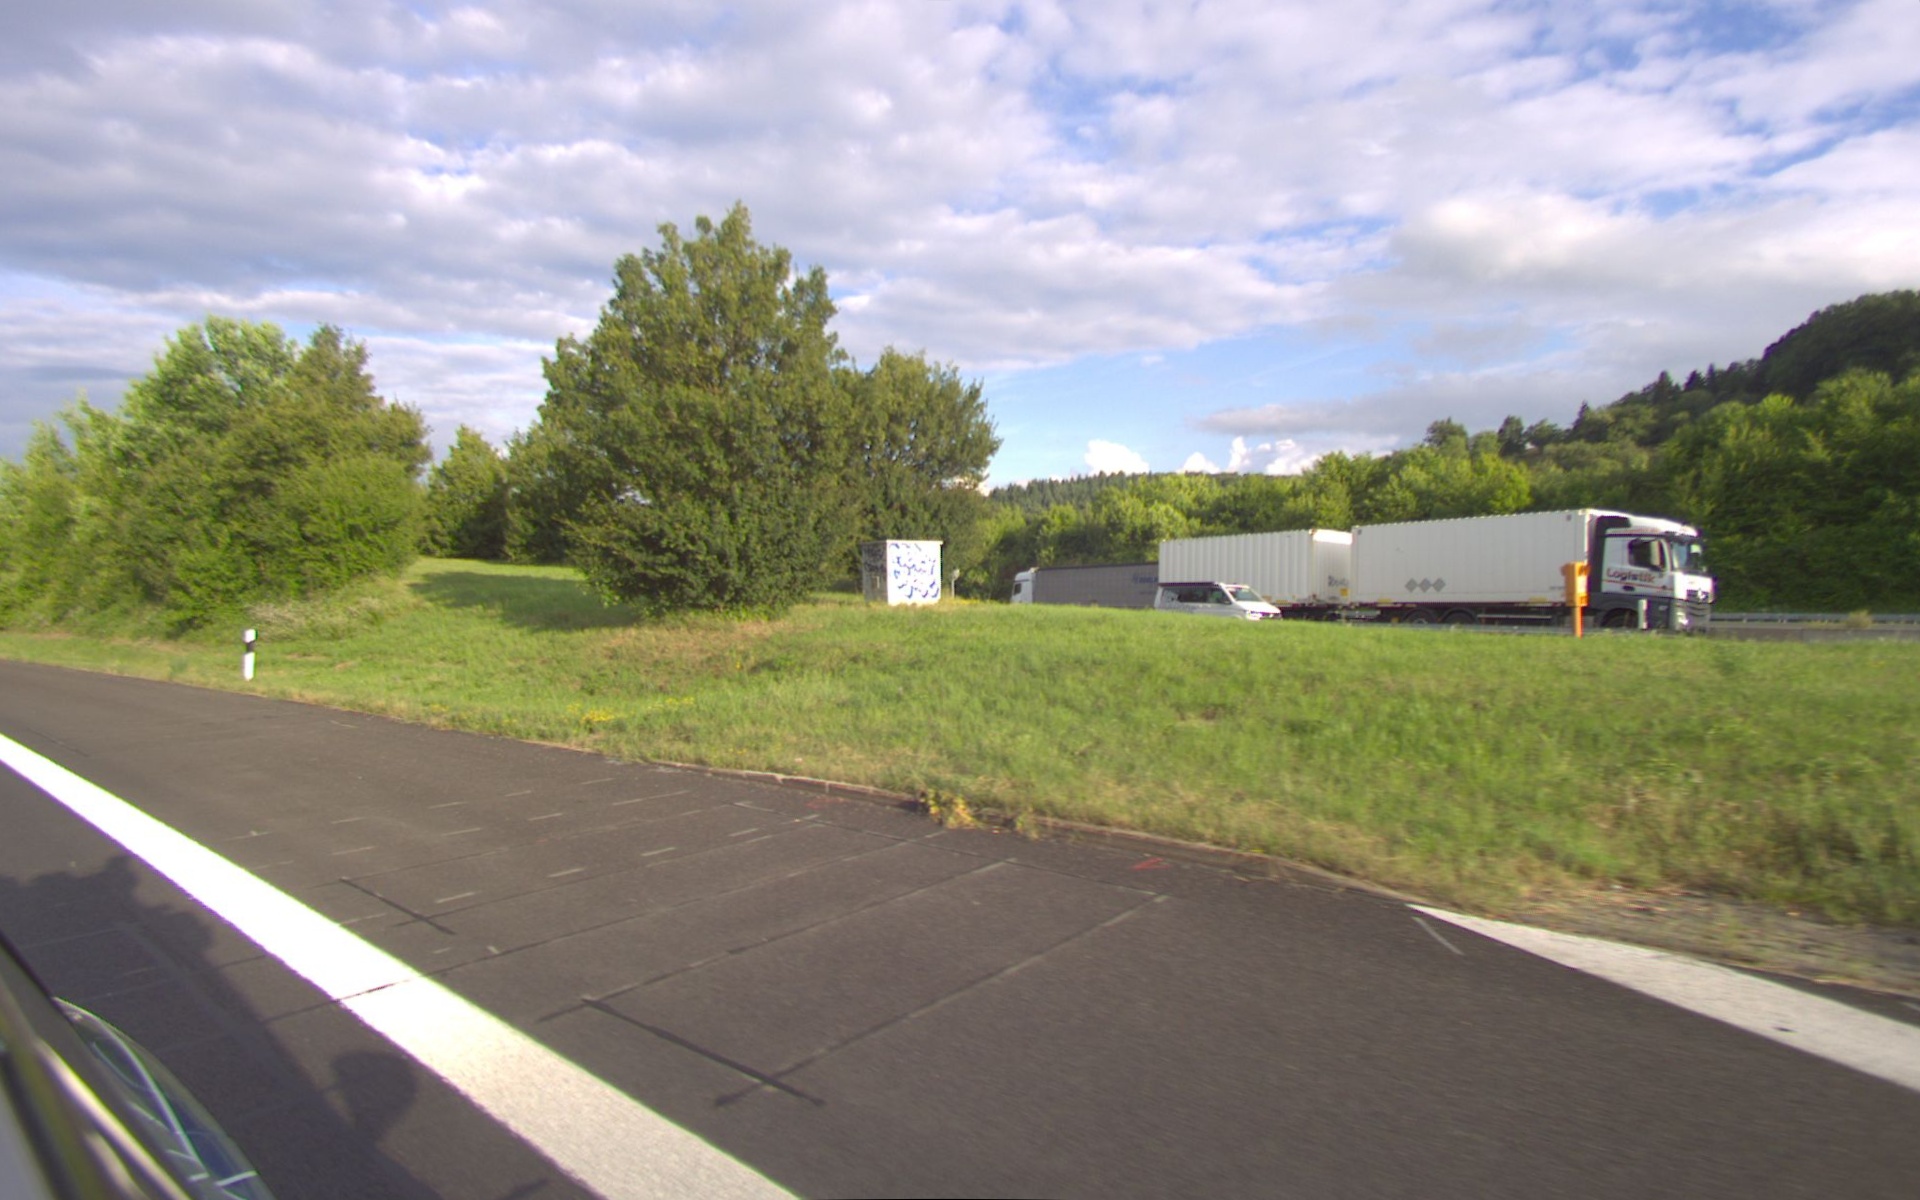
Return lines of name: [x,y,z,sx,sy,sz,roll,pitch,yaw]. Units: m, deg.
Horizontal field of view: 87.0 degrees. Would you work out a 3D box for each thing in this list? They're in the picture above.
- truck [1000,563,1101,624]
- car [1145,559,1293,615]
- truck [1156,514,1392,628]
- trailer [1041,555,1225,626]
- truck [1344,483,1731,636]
truck: [5.993,-0.396,68.454,2.904,3.917,7.105,-1,0,-34]
car: [8.936,-0.401,35.292,1.967,1.790,4.913,0,0,-35]
truck: [11.805,-0.961,39.103,2.732,3.935,8.903,0,0,-35]
trailer: [10.231,-0.475,62.270,2.904,3.917,13.007,-1,0,-34]
truck: [17.226,-1.020,31.324,2.732,3.977,10.179,0,0,-35]
